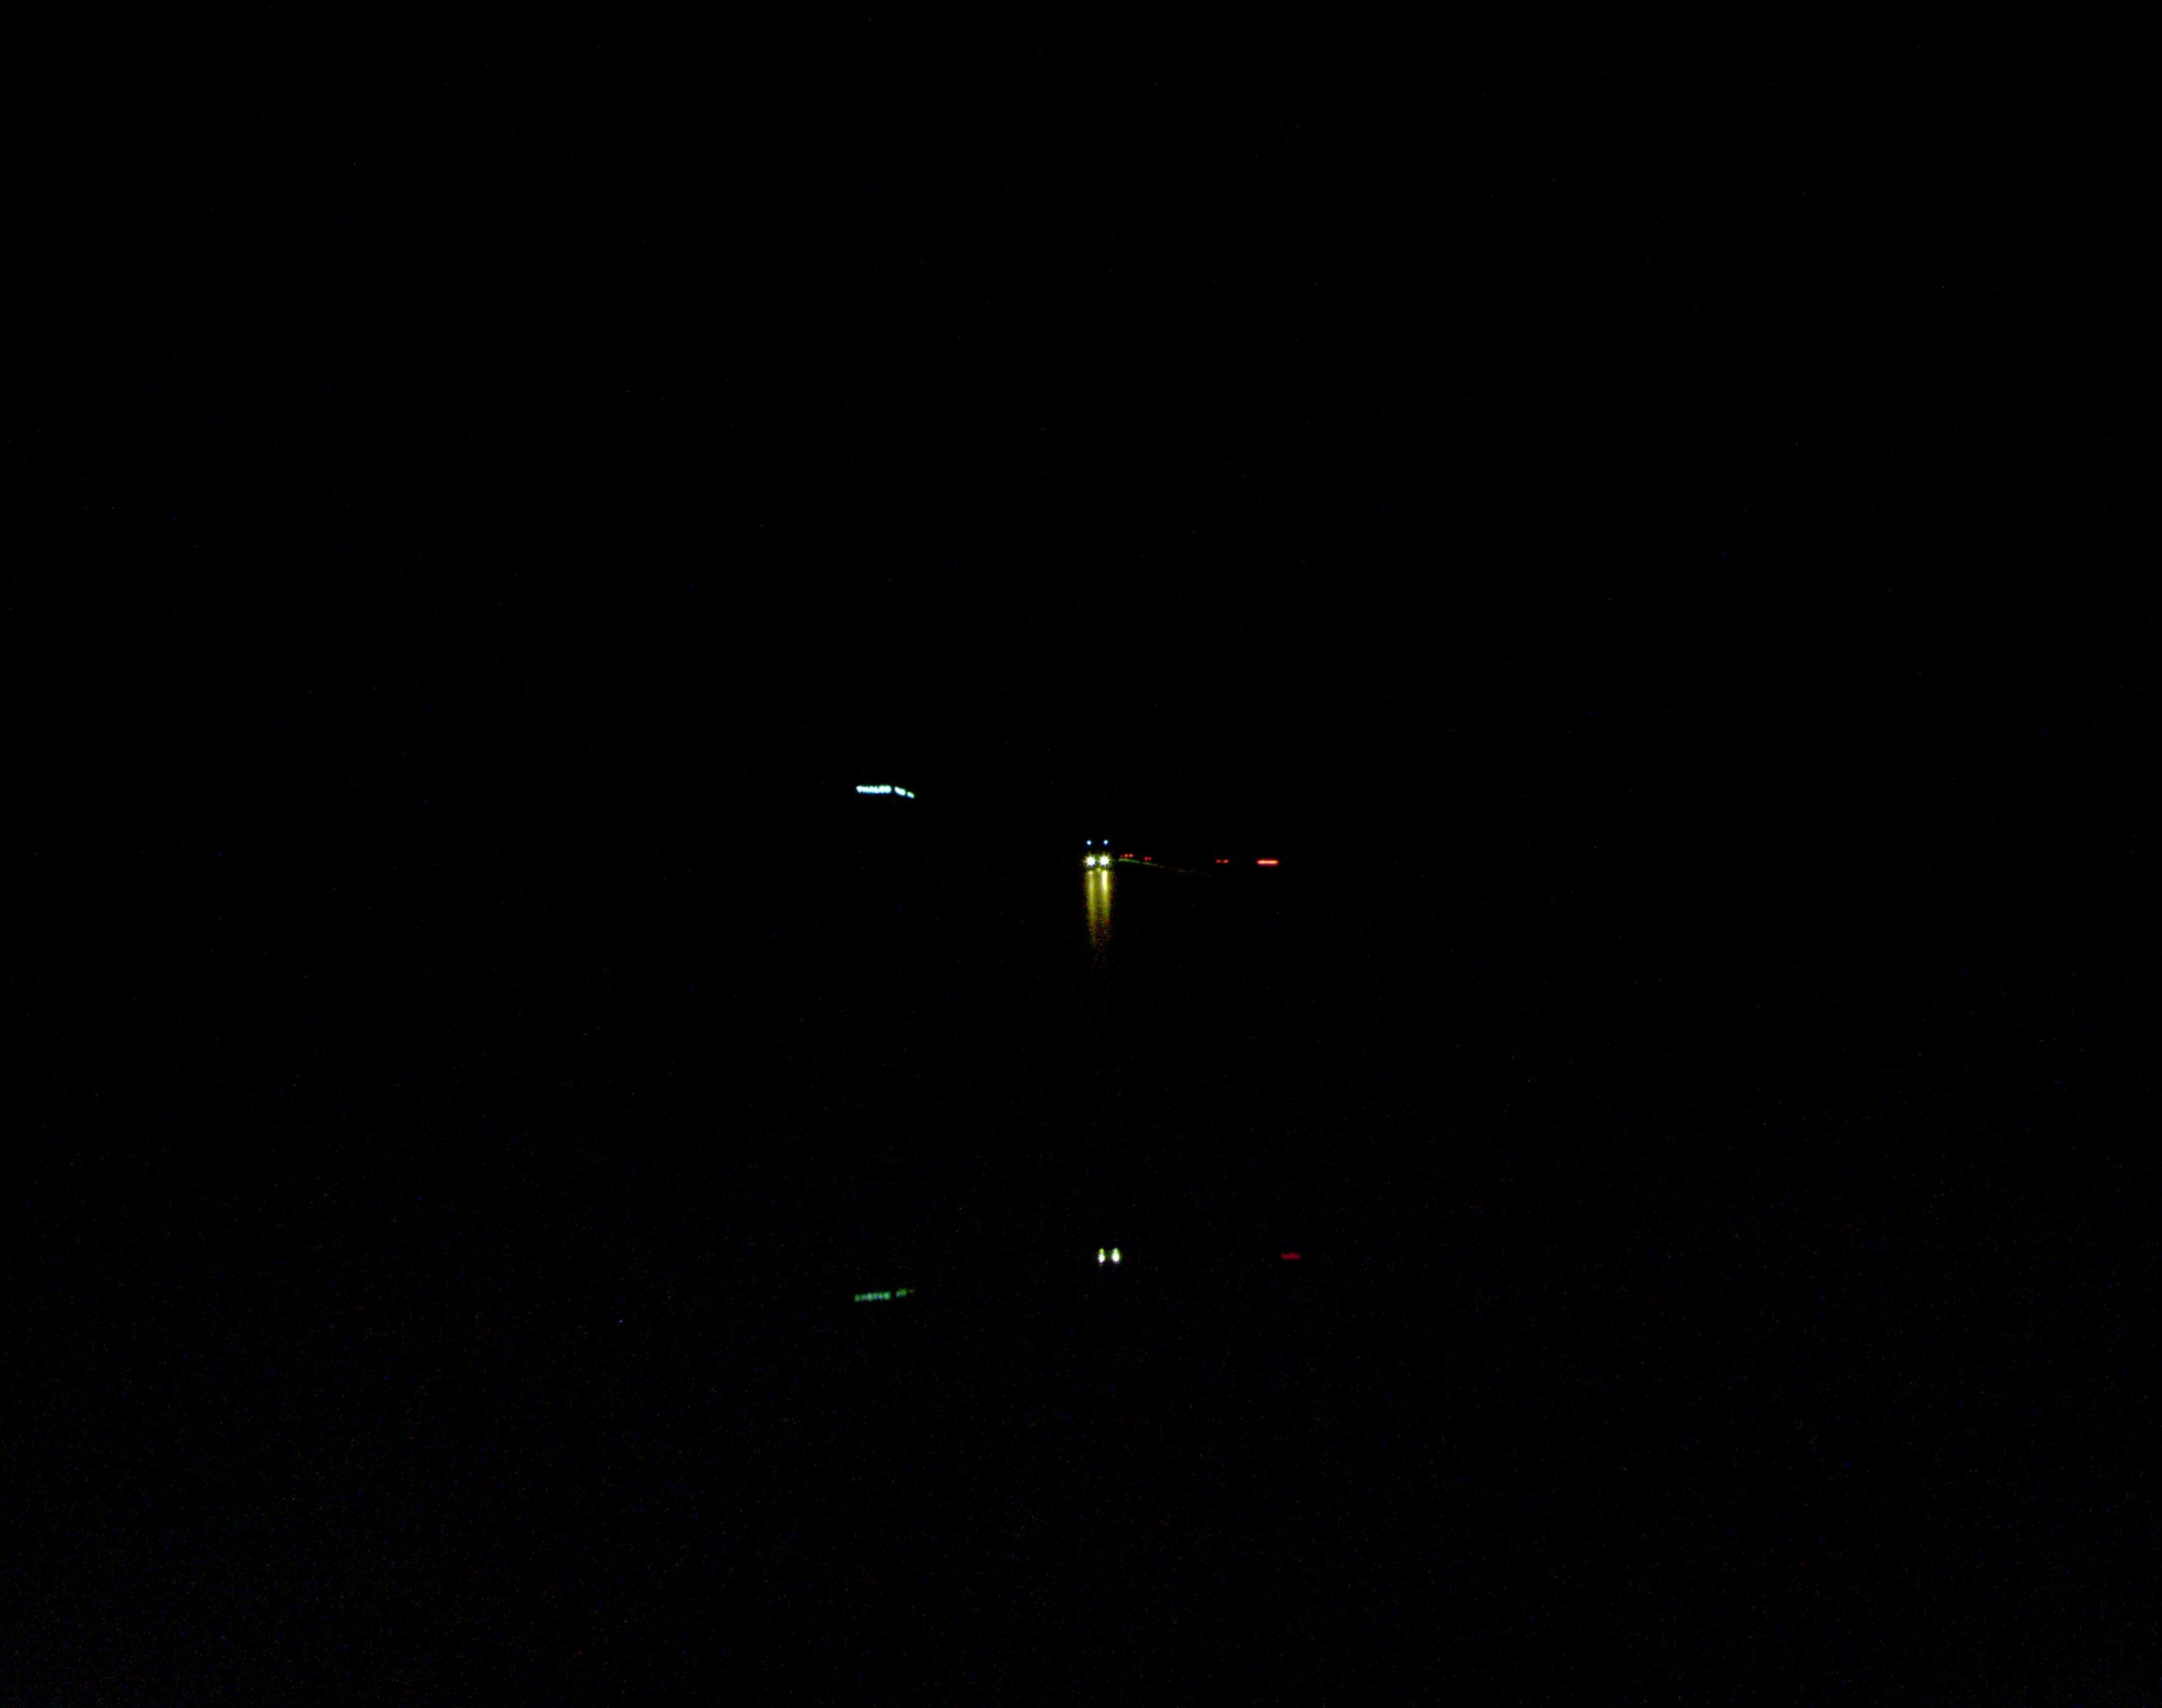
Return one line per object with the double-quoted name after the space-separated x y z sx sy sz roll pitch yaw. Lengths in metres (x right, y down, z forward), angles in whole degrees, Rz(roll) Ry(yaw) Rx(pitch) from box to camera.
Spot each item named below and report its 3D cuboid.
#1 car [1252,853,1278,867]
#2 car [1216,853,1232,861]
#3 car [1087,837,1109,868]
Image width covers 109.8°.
21.094 0.634 87.294 1.968 1.529 5.185 0 0 2 "car"
23.113 0.469 122.936 1.908 1.275 4.350 0 0 2 "car"
1.965 -0.176 84.272 2.255 3.205 6.878 -2 1 2 "car"
